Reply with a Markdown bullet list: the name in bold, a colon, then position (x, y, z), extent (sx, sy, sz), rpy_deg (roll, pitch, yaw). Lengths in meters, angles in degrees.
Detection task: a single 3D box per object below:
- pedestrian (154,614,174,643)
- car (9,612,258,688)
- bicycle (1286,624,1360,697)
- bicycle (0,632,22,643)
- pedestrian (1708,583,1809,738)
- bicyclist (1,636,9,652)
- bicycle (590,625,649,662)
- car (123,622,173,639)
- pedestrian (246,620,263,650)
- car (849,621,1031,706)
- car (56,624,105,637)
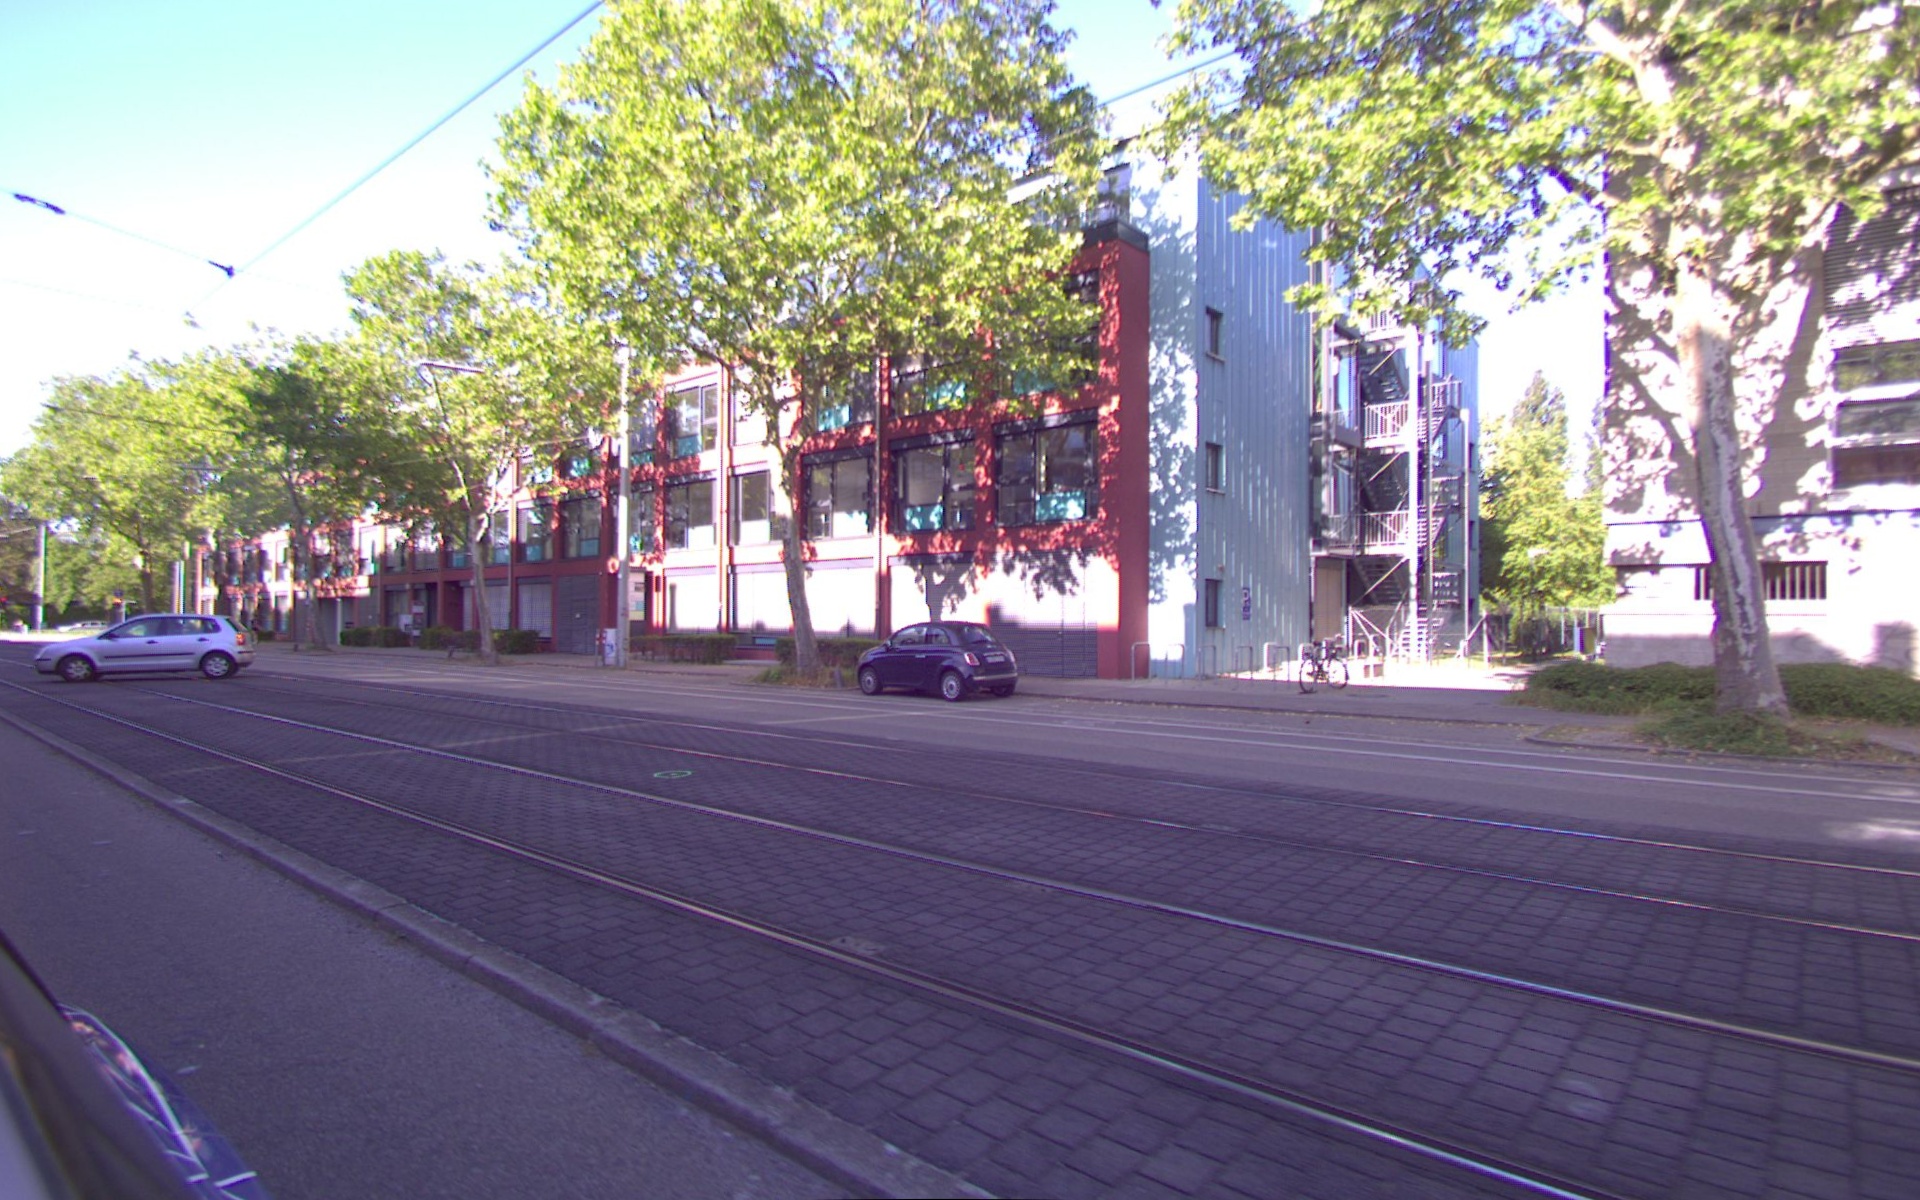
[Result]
- **pedestrian**: position (-57.568, 2.058, 73.179), extent (0.778, 2.029, 0.903), rpy_deg (-2, 0, 32)
- **car**: position (-18.010, 1.046, 22.329), extent (4.001, 1.529, 1.764), rpy_deg (0, -2, -29)
- **bicycle**: position (7.063, 1.141, 19.637), extent (0.664, 1.288, 1.987), rpy_deg (-2, -1, 41)
- **bicycle**: position (-100.387, 3.949, 106.563), extent (2.252, 1.126, 0.931), rpy_deg (1, -2, -42)
- **pedestrian**: position (10.042, 0.739, 12.761), extent (0.782, 1.884, 0.666), rpy_deg (-2, 0, 22)
- **bicyclist**: position (-100.457, 4.618, 106.477), extent (0.551, 1.635, 0.899), rpy_deg (1, -2, -41)
- **bicycle**: position (-12.819, 1.609, 38.131), extent (0.619, 1.282, 2.038), rpy_deg (-2, 0, 45)
- **car**: position (-93.500, 3.495, 116.544), extent (1.817, 1.881, 4.254), rpy_deg (-1, -2, 43)
- **pedestrian**: position (-41.909, 2.078, 60.113), extent (0.900, 1.731, 0.619), rpy_deg (-2, 0, 40)
- **car**: position (-0.448, 1.189, 19.778), extent (3.463, 1.465, 1.491), rpy_deg (-2, 0, 43)
- **car**: position (-95.792, 3.321, 110.223), extent (3.940, 1.444, 1.818), rpy_deg (1, -2, -44)
